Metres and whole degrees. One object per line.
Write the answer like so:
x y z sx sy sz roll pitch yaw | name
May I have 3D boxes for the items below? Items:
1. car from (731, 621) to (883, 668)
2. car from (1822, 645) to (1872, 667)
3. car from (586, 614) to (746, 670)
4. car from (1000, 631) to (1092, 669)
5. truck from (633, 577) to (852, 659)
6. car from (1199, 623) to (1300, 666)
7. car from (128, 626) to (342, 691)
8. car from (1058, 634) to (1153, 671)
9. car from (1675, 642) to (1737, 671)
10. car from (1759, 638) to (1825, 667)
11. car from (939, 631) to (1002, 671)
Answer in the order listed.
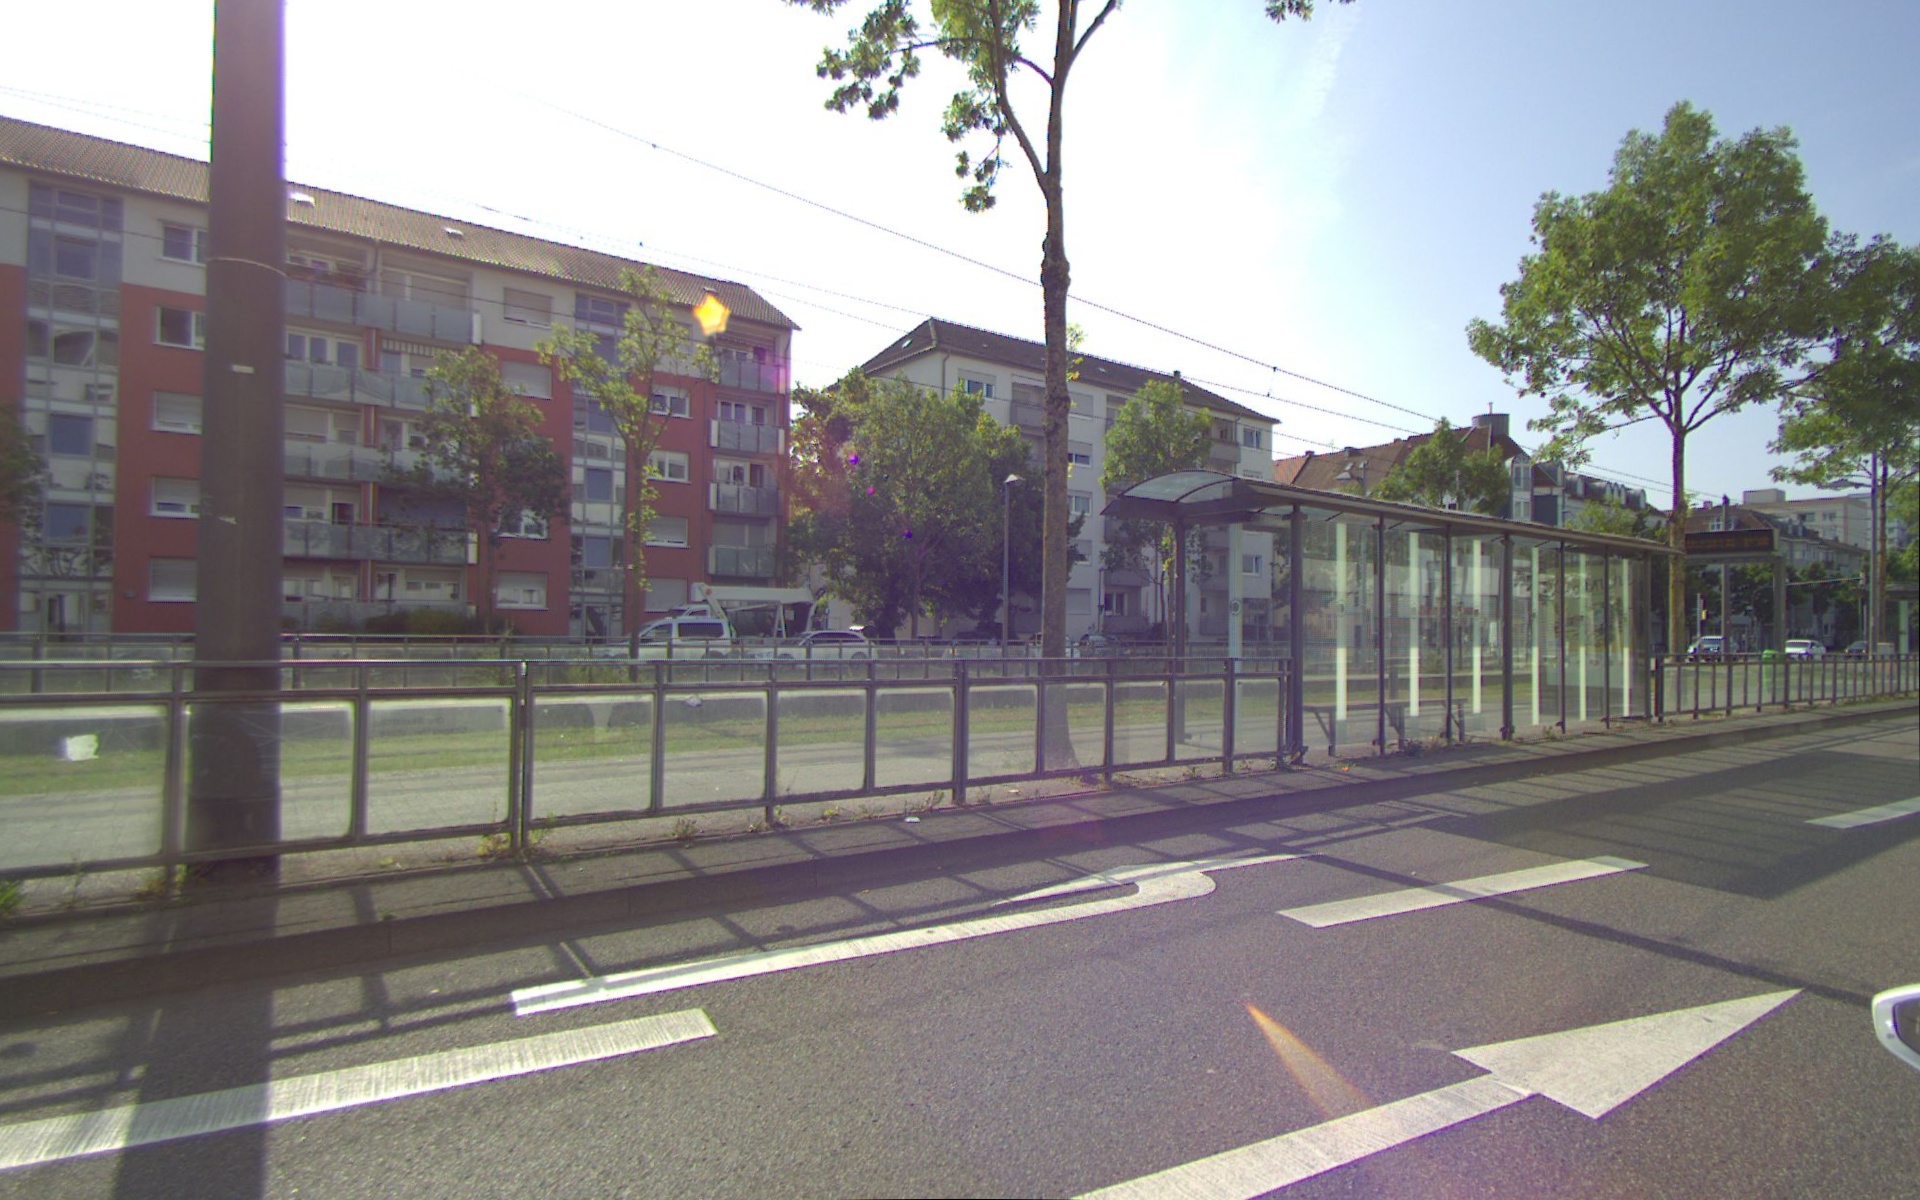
-5.081 1.496 33.634 4.640 1.397 1.966 3 -1 -37 | car
67.798 4.304 76.781 3.957 1.595 1.864 2 -2 -33 | car
-8.951 1.303 30.708 4.241 1.533 1.966 3 -1 -37 | car
3.111 1.834 37.148 1.910 1.260 3.982 2 -2 -20 | car
-7.529 0.692 35.438 7.174 2.597 2.348 3 -1 -37 | truck
15.190 2.353 52.558 5.263 2.057 2.348 3 -1 -37 | car
-17.402 1.395 24.284 4.032 1.378 1.966 3 -1 -37 | car
5.447 1.968 38.139 1.910 1.260 3.982 2 -2 -20 | car
46.601 3.542 62.732 3.961 1.617 1.980 3 -1 -36 | car
50.997 3.202 61.546 4.006 1.617 1.982 3 -1 -33 | car
0.310 1.763 35.279 1.798 1.260 3.997 2 -1 -5 | car
